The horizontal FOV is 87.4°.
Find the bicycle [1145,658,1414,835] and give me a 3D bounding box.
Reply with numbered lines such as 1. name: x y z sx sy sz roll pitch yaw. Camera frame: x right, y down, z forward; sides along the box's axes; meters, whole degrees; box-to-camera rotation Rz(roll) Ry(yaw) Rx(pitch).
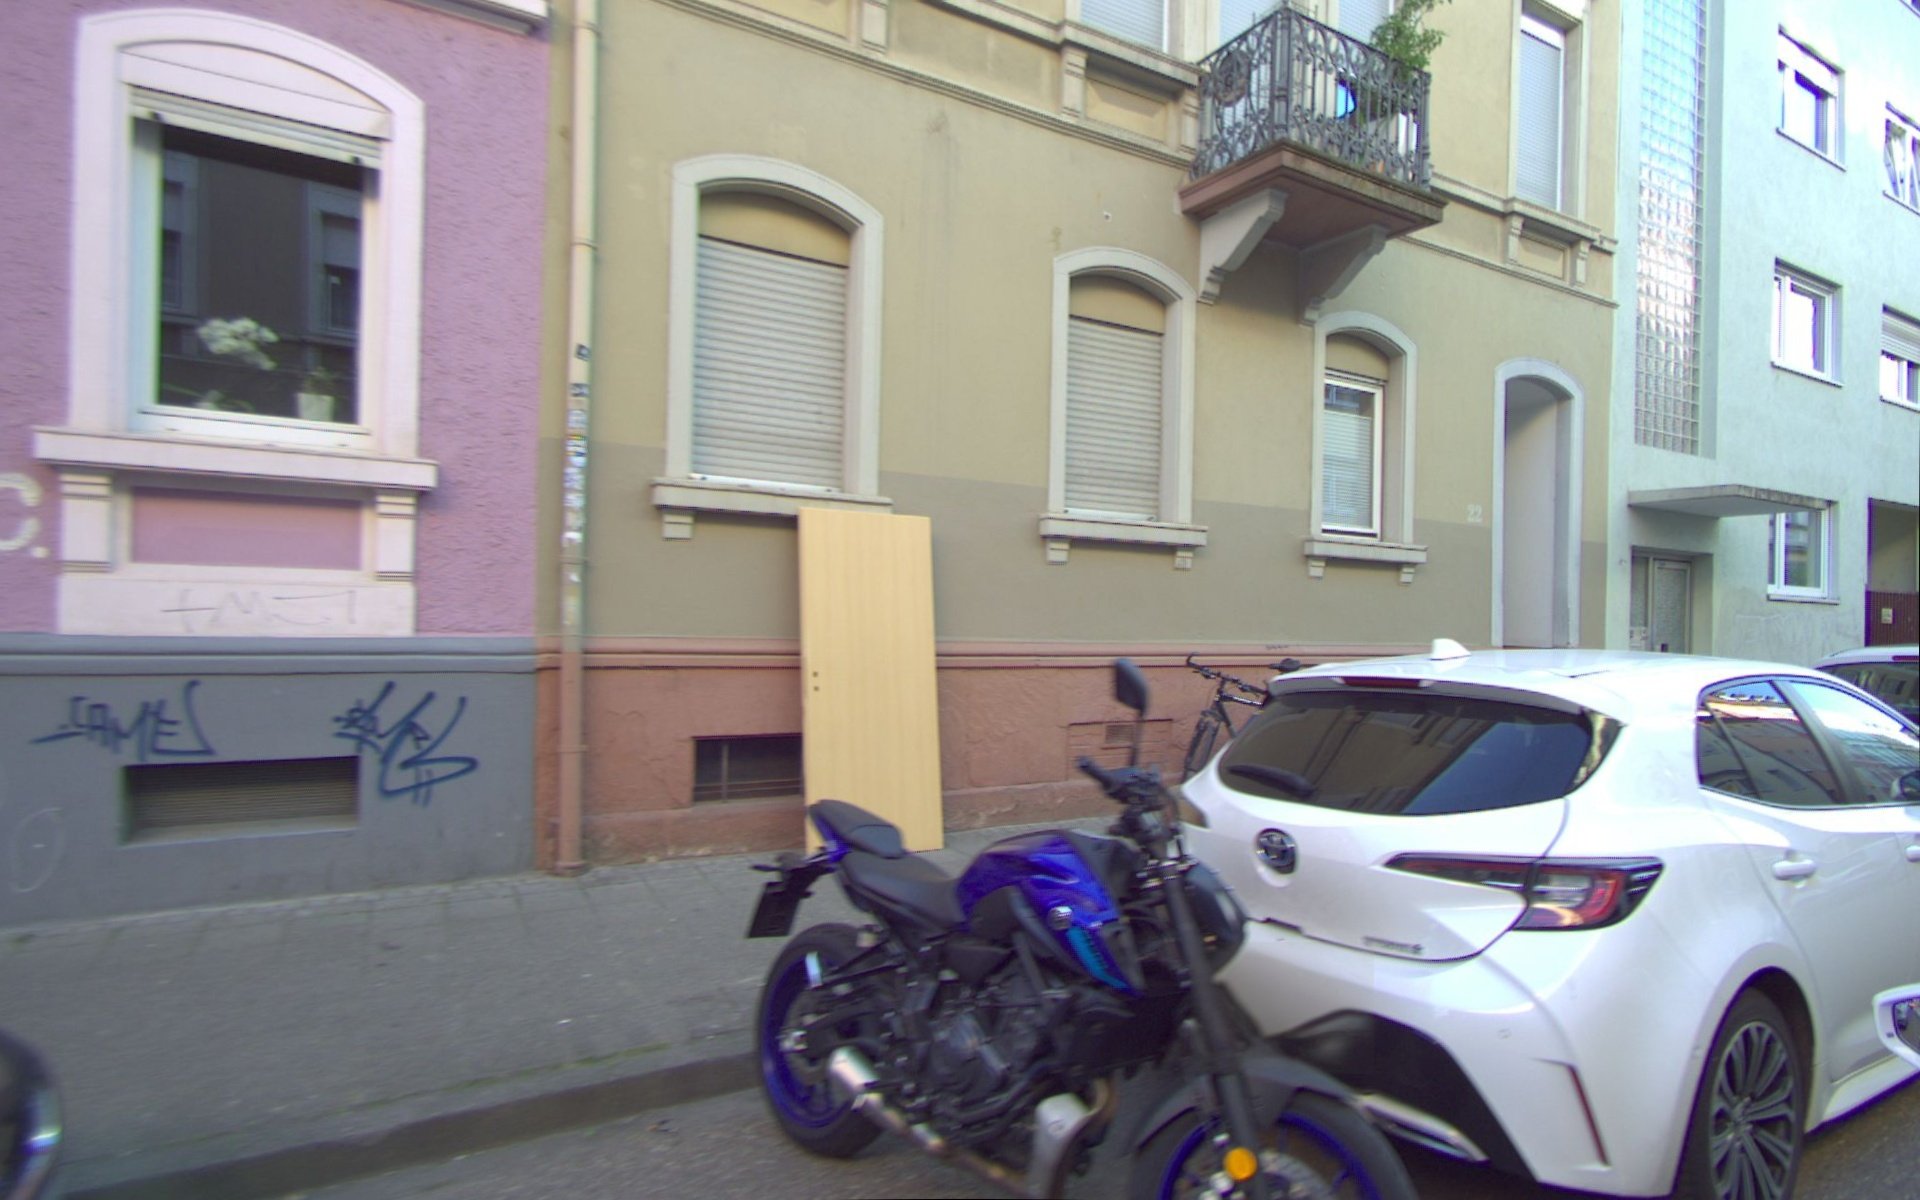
1. bicycle: 2.335 0.995 7.240 2.054 1.103 0.590 2 0 -30

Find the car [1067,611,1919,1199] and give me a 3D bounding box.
1. car: 2.531 0.860 3.709 4.118 1.460 1.664 2 -4 -31

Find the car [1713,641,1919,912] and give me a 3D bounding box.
1. car: 6.741 1.022 6.493 3.723 1.460 1.664 2 -4 -30

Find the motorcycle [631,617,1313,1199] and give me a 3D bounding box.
1. motorcycle: -0.145 0.777 2.890 2.123 1.377 0.537 2 0 43

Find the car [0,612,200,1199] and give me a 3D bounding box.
1. car: -3.313 0.703 0.601 4.300 1.402 1.704 1 -1 -28
